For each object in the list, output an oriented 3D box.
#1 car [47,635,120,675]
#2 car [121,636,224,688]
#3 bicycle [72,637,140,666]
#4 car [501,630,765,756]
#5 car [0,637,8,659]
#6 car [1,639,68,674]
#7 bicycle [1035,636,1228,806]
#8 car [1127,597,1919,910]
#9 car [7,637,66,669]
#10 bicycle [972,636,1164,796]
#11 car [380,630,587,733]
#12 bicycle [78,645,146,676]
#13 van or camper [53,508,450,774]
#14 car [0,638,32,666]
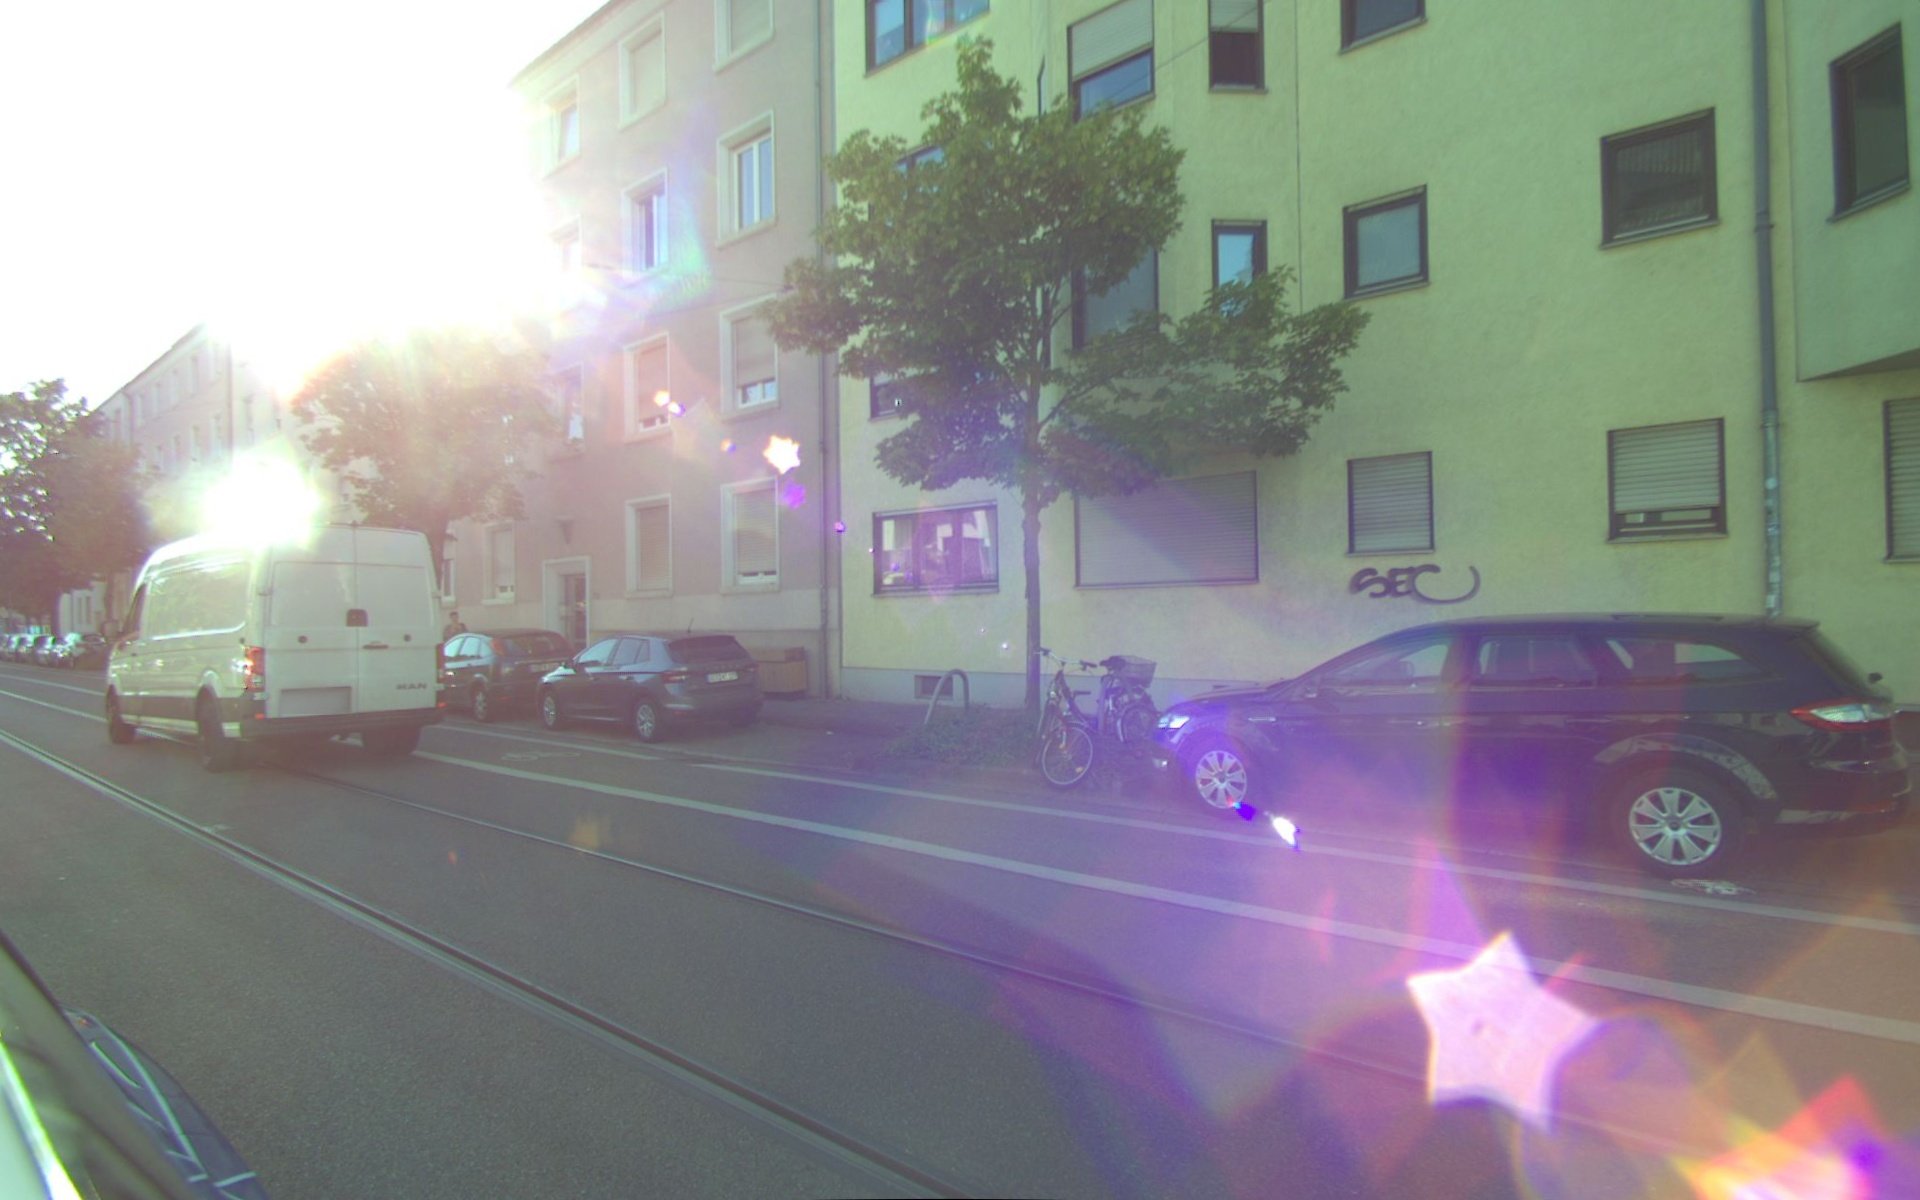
[{"bbox_3d":[-38.812,2.400,44.791,4.042,1.635,1.668,-2,-1,38],"label":"car"},{"bbox_3d":[-25.191,1.927,32.306,4.750,1.484,1.746,-2,-1,42],"label":"car"},{"bbox_3d":[-35.783,2.138,42.411,0.535,1.151,2.124,-2,-1,37],"label":"bicycle"},{"bbox_3d":[-4.850,1.252,14.753,4.038,1.484,1.747,-2,1,40],"label":"car"},{"bbox_3d":[-70.410,3.488,73.382,3.408,1.556,1.645,-2,-2,40],"label":"car"},{"bbox_3d":[-43.805,2.645,47.883,4.042,1.563,1.668,-2,-1,38],"label":"car"},{"bbox_3d":[1.669,1.044,9.492,0.699,1.344,2.269,-2,-2,40],"label":"bicycle"},{"bbox_3d":[3.689,0.824,7.198,4.732,1.554,1.746,-2,-2,42],"label":"car"},{"bbox_3d":[-49.104,2.801,53.790,4.042,1.563,1.668,-2,-1,38],"label":"car"},{"bbox_3d":[1.124,1.060,9.980,0.699,1.344,2.269,-2,-2,40],"label":"bicycle"},{"bbox_3d":[-8.467,1.354,17.825,4.179,1.484,1.747,-2,1,41],"label":"car"},{"bbox_3d":[-35.147,2.491,41.977,0.530,1.151,2.124,-2,-1,37],"label":"bicycle"},{"bbox_3d":[-9.253,0.493,12.871,6.826,2.573,2.346,-2,-1,39],"label":"van or camper"},{"bbox_3d":[-56.097,3.040,59.493,3.710,1.563,1.668,-2,-1,38],"label":"car"}]
